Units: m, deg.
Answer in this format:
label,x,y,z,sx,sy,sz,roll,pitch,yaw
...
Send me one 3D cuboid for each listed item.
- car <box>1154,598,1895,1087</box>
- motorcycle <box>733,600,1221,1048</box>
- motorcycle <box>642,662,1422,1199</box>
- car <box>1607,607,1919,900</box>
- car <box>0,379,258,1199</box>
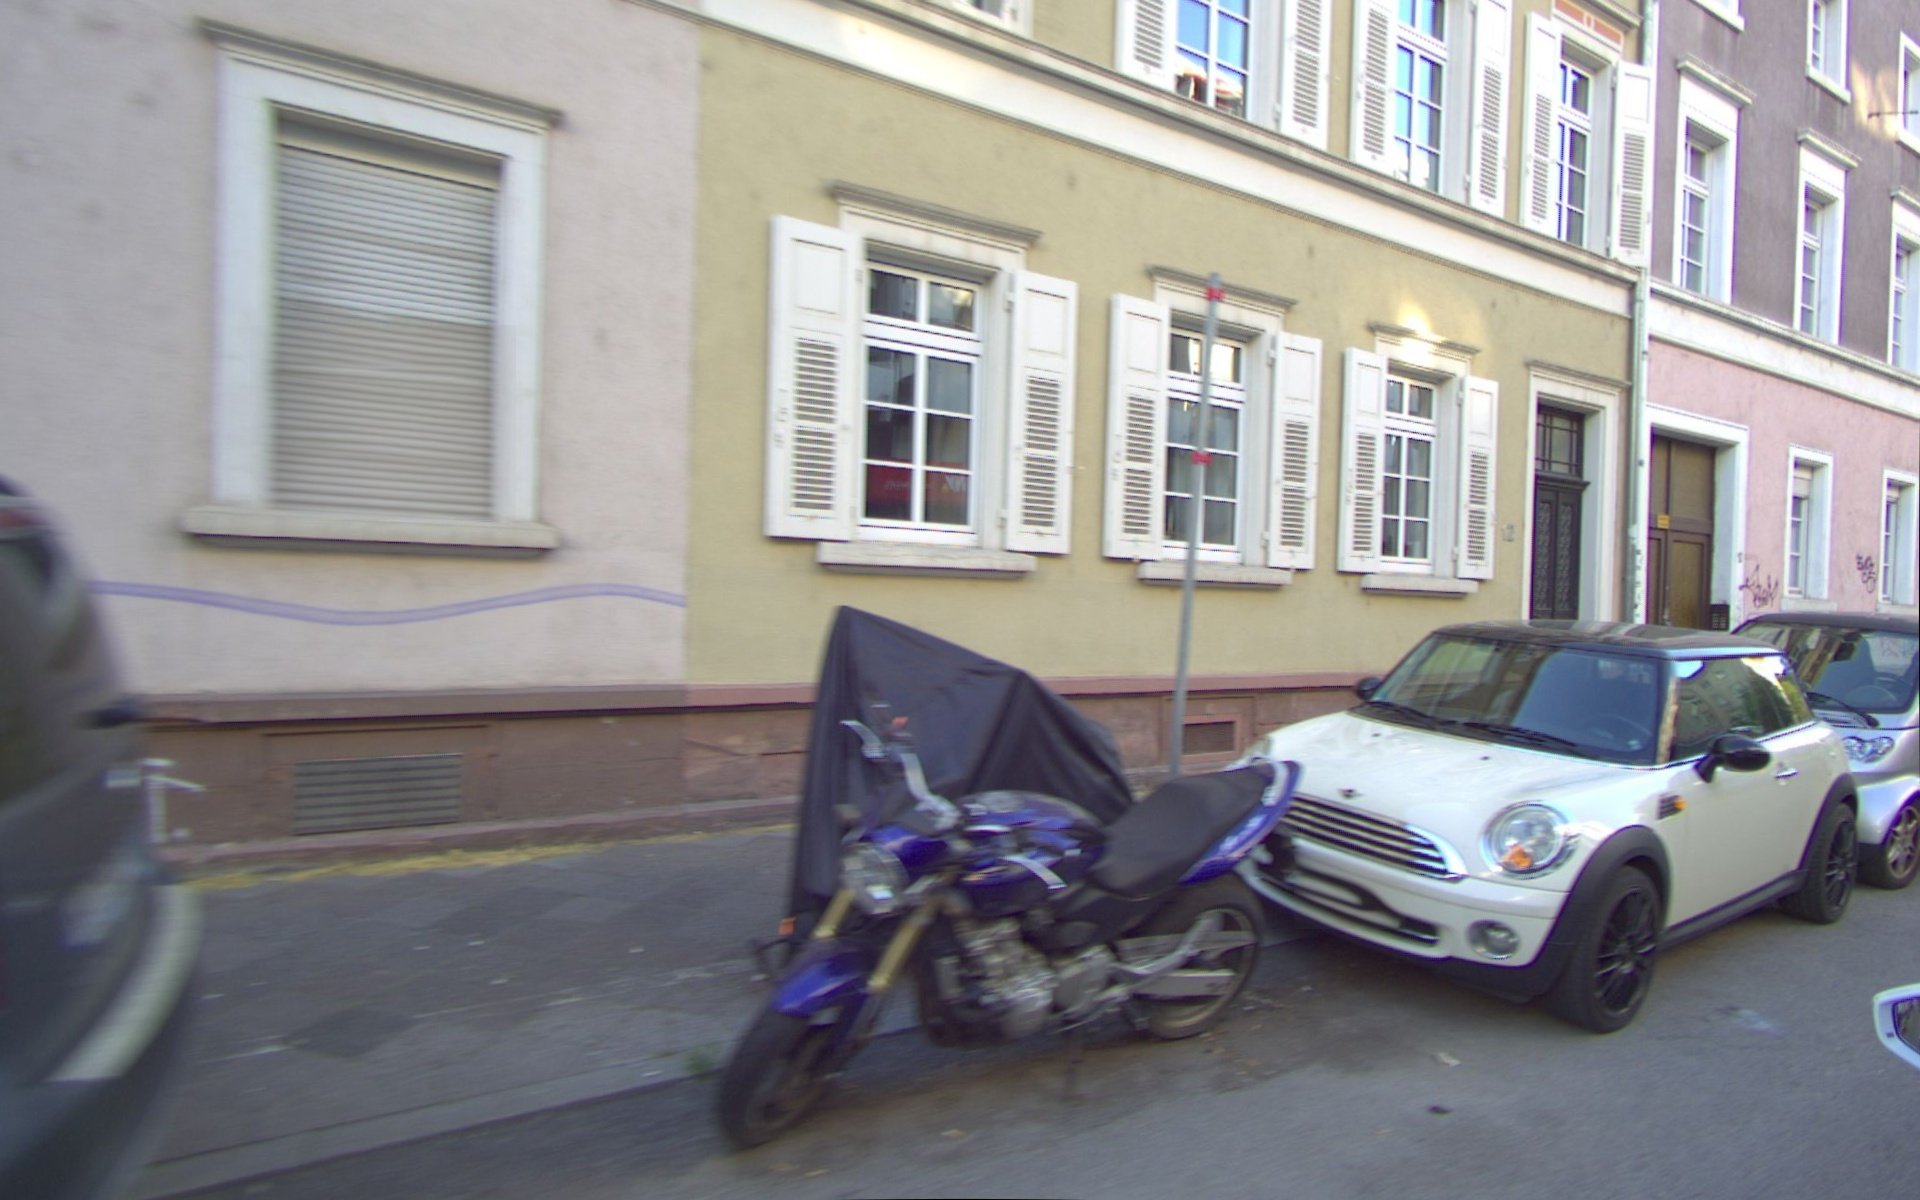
label,x,y,z,sx,sy,sz,roll,pitch,yaw
car,2.947,0.812,4.988,3.817,1.517,1.699,2,1,-35
motorcycle,0.114,0.733,3.980,1.829,1.408,0.701,1,0,-33
motorcycle,0.361,0.853,3.102,2.448,1.251,0.706,2,0,-33
car,5.844,0.874,6.706,2.714,1.552,1.380,2,1,-28
car,-3.421,0.531,1.057,4.245,1.774,1.853,2,1,-32
